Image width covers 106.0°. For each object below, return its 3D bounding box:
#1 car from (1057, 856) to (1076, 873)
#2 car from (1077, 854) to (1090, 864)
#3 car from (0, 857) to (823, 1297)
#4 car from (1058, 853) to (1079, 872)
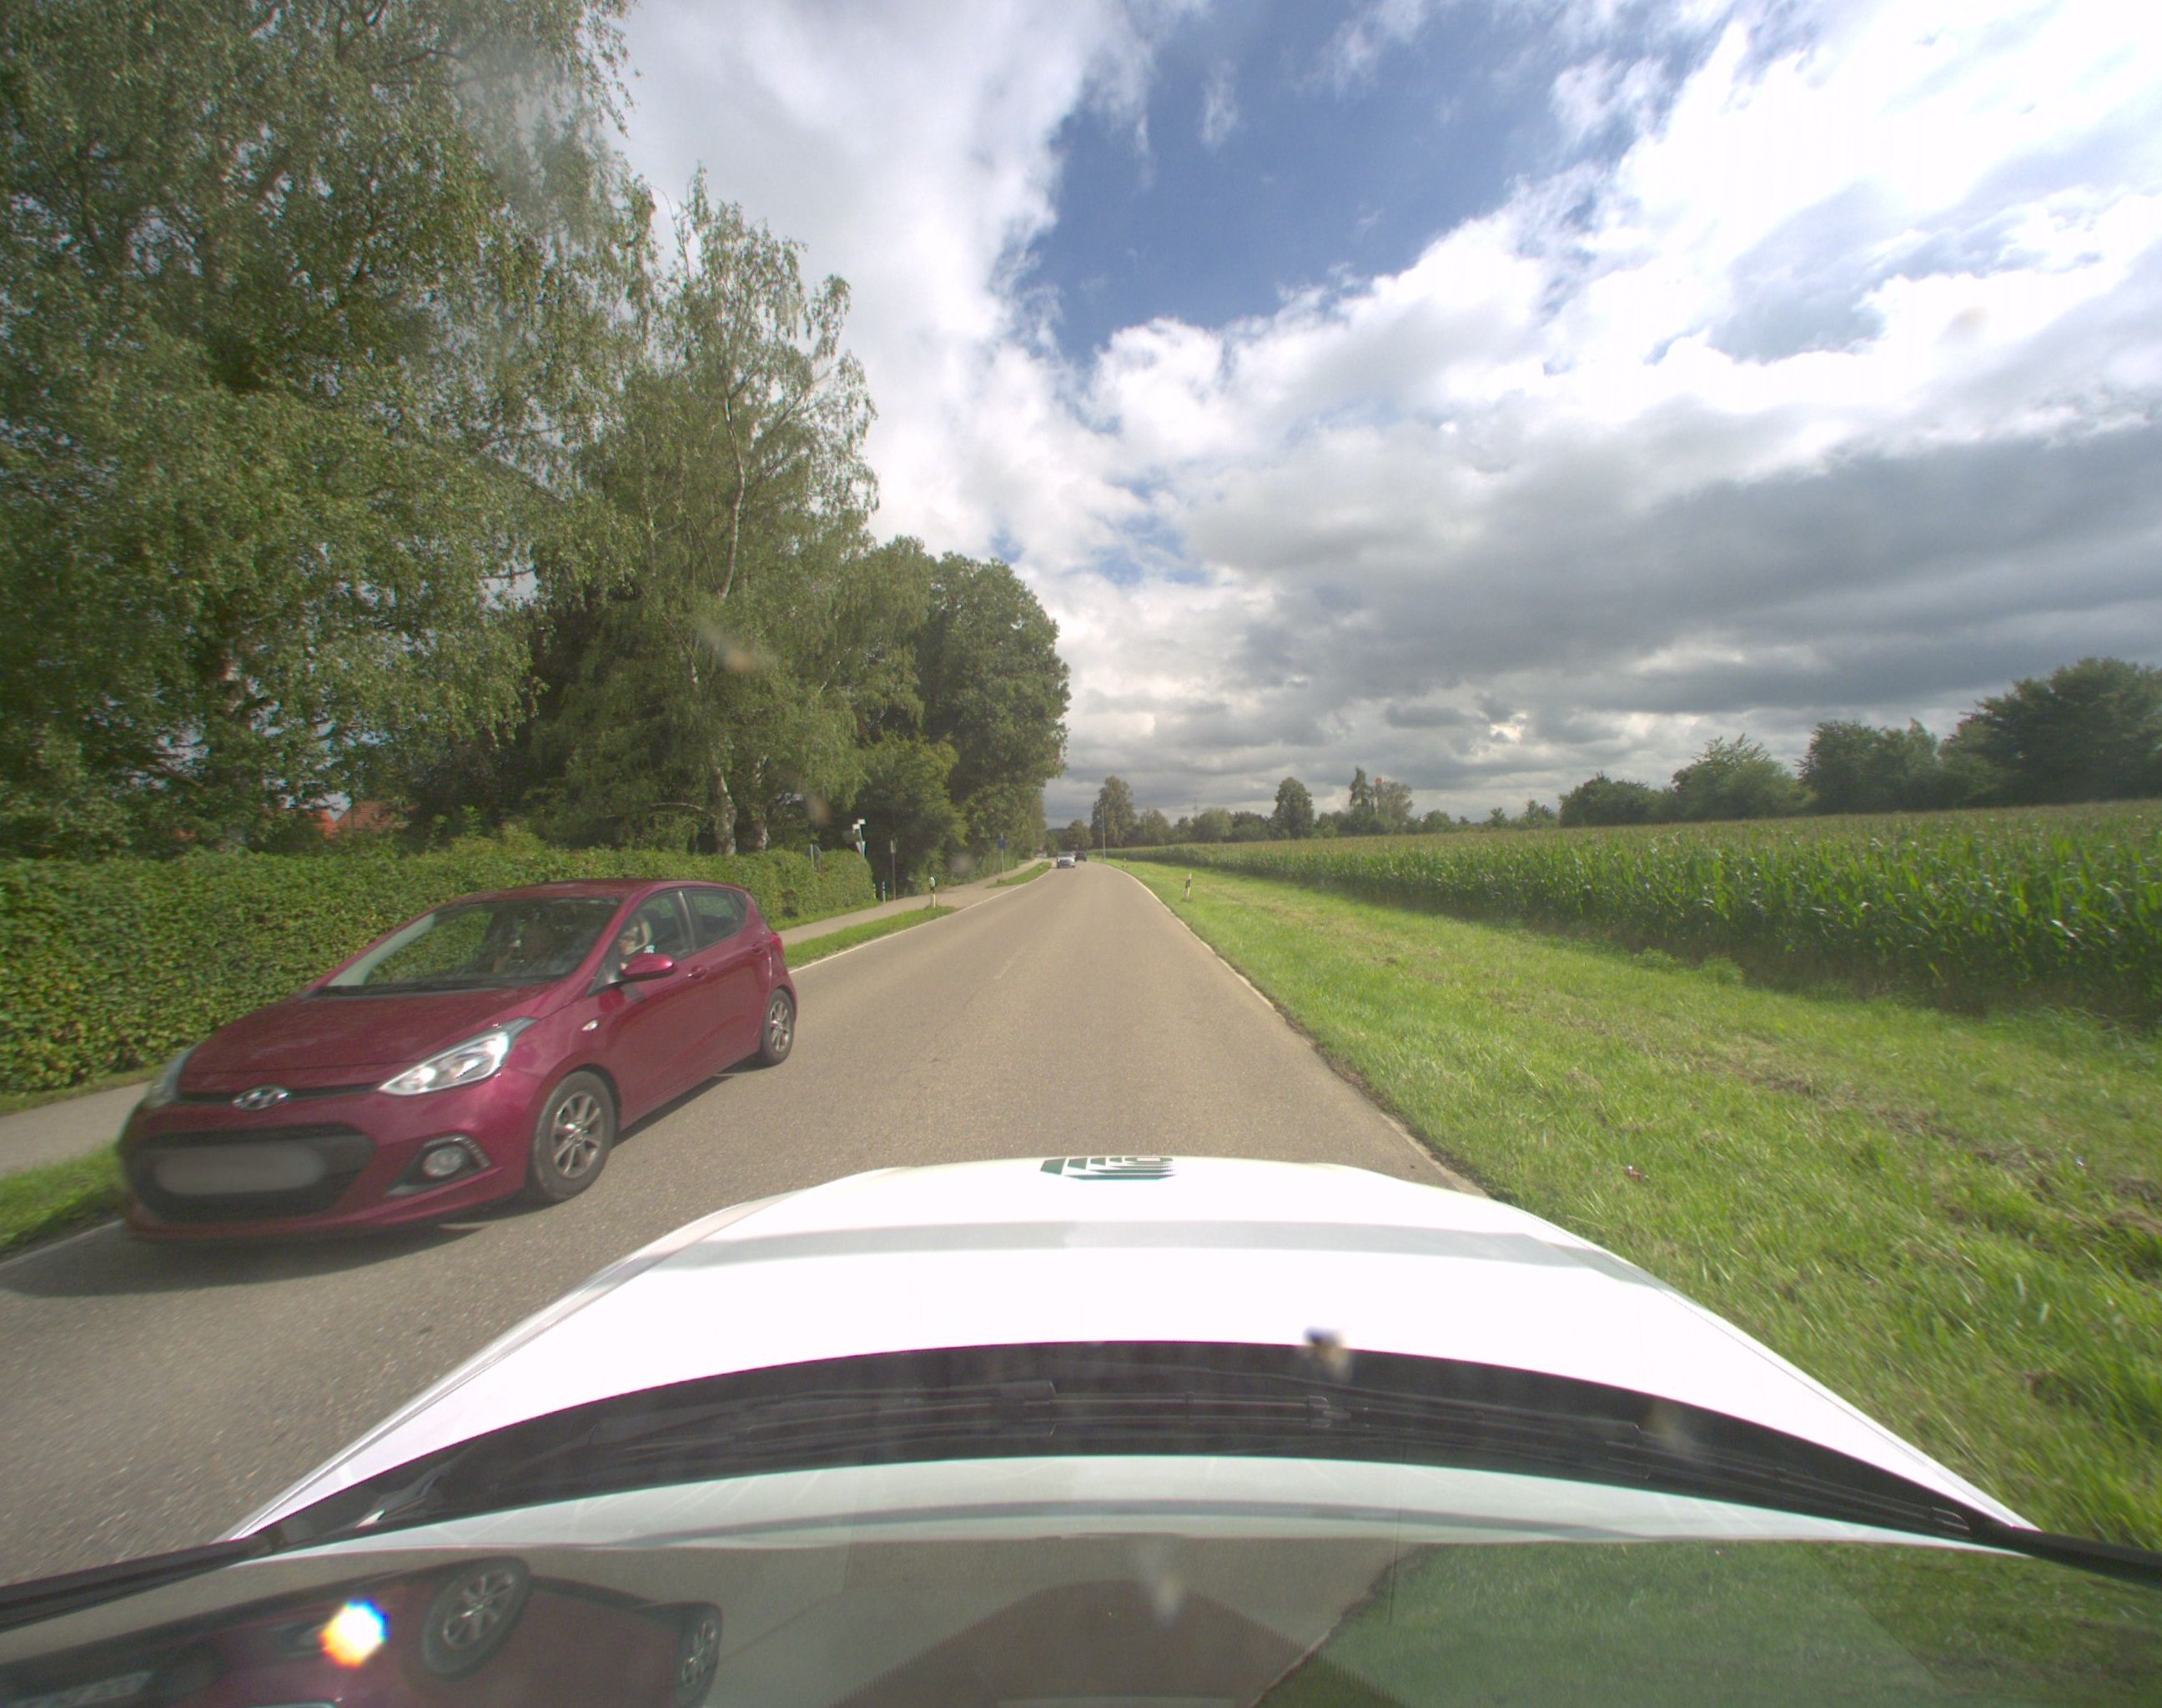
[{"bbox_3d":[-1.498,1.071,85.251,1.806,1.650,4.290,-3,0,-1],"label":"car"},{"bbox_3d":[0.356,0.814,132.695,1.986,1.585,4.001,0,-1,2],"label":"car"},{"bbox_3d":[-3.164,0.825,4.965,1.734,1.471,4.001,-3,0,1],"label":"car"},{"bbox_3d":[-1.245,0.883,85.237,1.986,2.014,4.001,0,-1,2],"label":"car"}]
